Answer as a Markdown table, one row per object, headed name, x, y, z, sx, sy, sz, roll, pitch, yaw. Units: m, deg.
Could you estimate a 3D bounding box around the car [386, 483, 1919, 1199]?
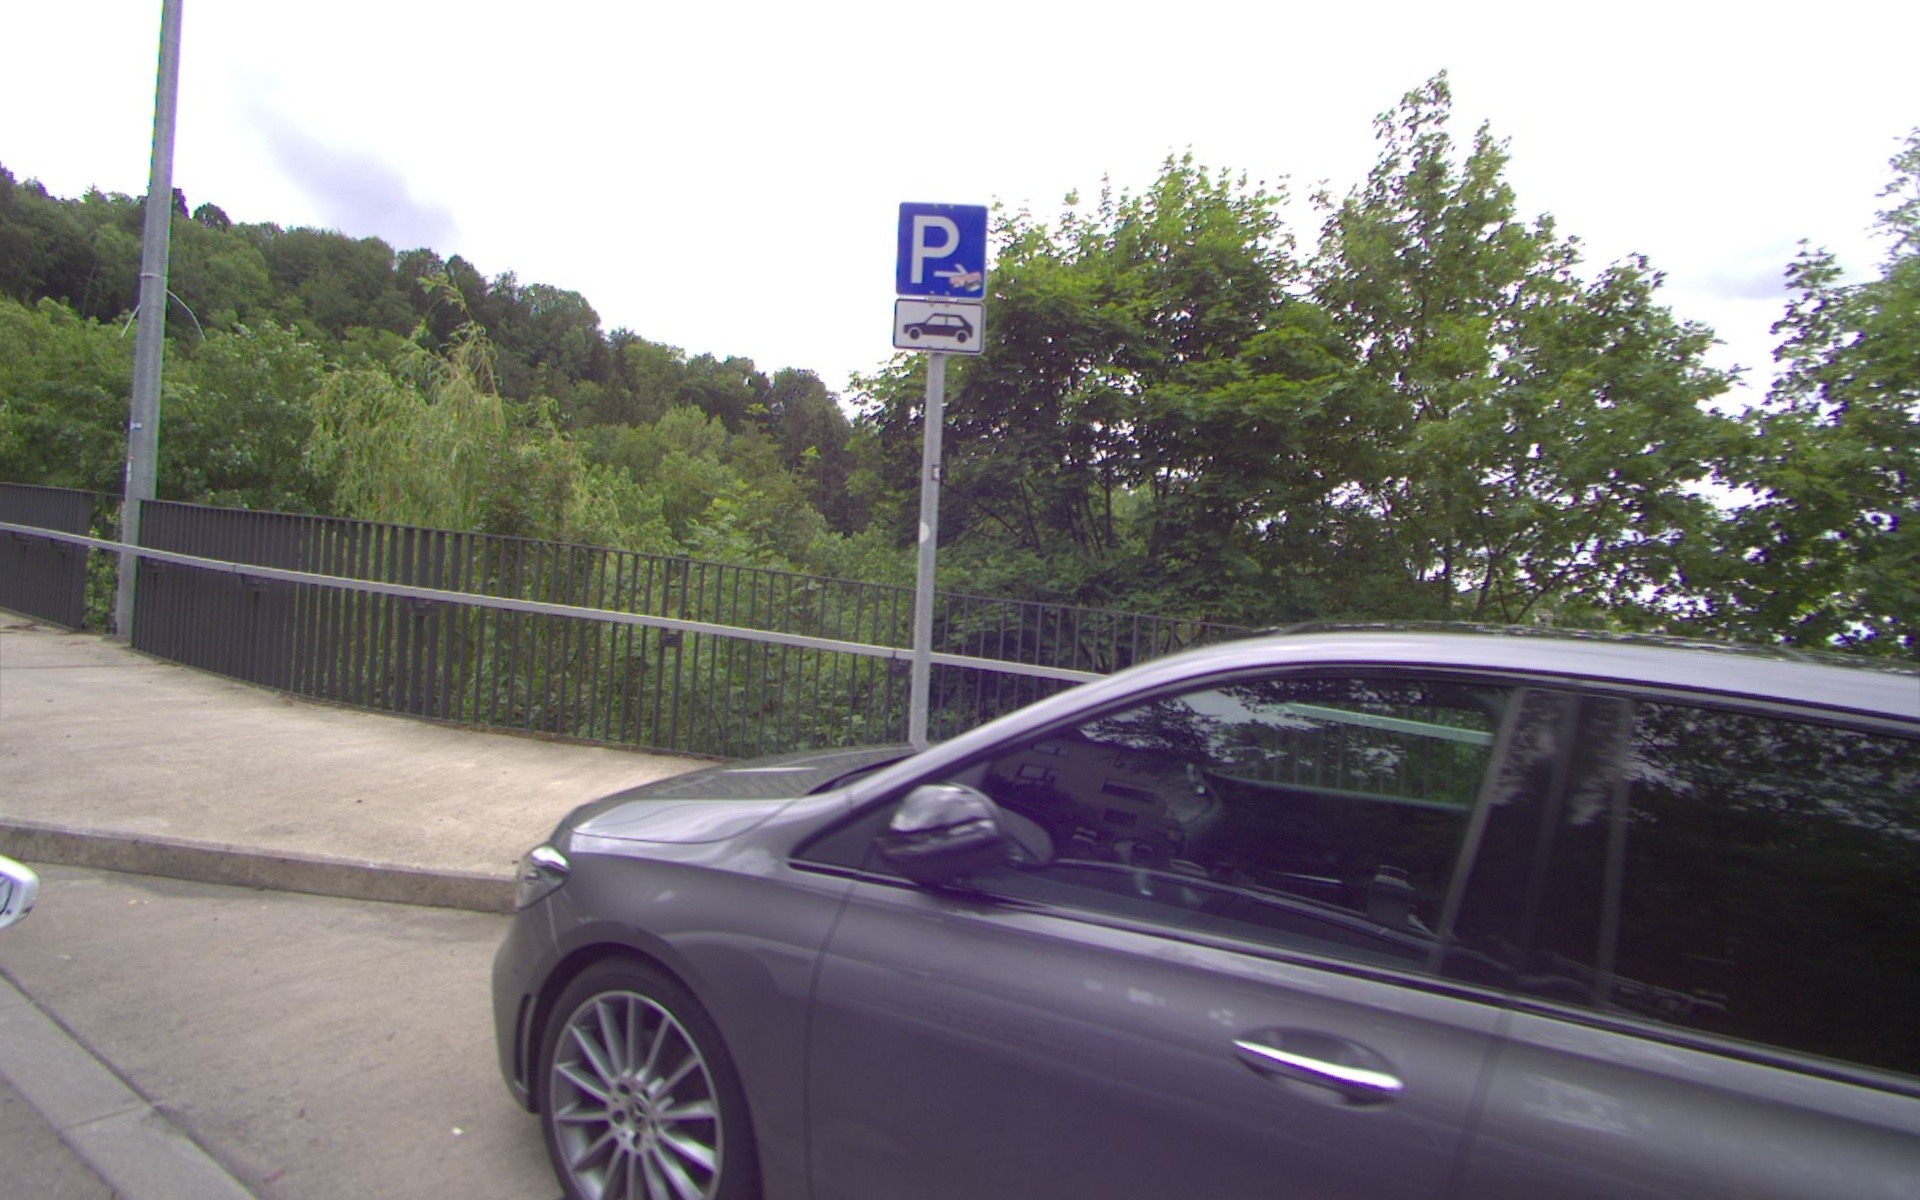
| name | x | y | z | sx | sy | sz | roll | pitch | yaw |
| --- | --- | --- | --- | --- | --- | --- | --- | --- | --- |
| car | 0.860 | 0.699 | 2.186 | 4.354 | 1.565 | 1.757 | 6 | 3 | 32 |
